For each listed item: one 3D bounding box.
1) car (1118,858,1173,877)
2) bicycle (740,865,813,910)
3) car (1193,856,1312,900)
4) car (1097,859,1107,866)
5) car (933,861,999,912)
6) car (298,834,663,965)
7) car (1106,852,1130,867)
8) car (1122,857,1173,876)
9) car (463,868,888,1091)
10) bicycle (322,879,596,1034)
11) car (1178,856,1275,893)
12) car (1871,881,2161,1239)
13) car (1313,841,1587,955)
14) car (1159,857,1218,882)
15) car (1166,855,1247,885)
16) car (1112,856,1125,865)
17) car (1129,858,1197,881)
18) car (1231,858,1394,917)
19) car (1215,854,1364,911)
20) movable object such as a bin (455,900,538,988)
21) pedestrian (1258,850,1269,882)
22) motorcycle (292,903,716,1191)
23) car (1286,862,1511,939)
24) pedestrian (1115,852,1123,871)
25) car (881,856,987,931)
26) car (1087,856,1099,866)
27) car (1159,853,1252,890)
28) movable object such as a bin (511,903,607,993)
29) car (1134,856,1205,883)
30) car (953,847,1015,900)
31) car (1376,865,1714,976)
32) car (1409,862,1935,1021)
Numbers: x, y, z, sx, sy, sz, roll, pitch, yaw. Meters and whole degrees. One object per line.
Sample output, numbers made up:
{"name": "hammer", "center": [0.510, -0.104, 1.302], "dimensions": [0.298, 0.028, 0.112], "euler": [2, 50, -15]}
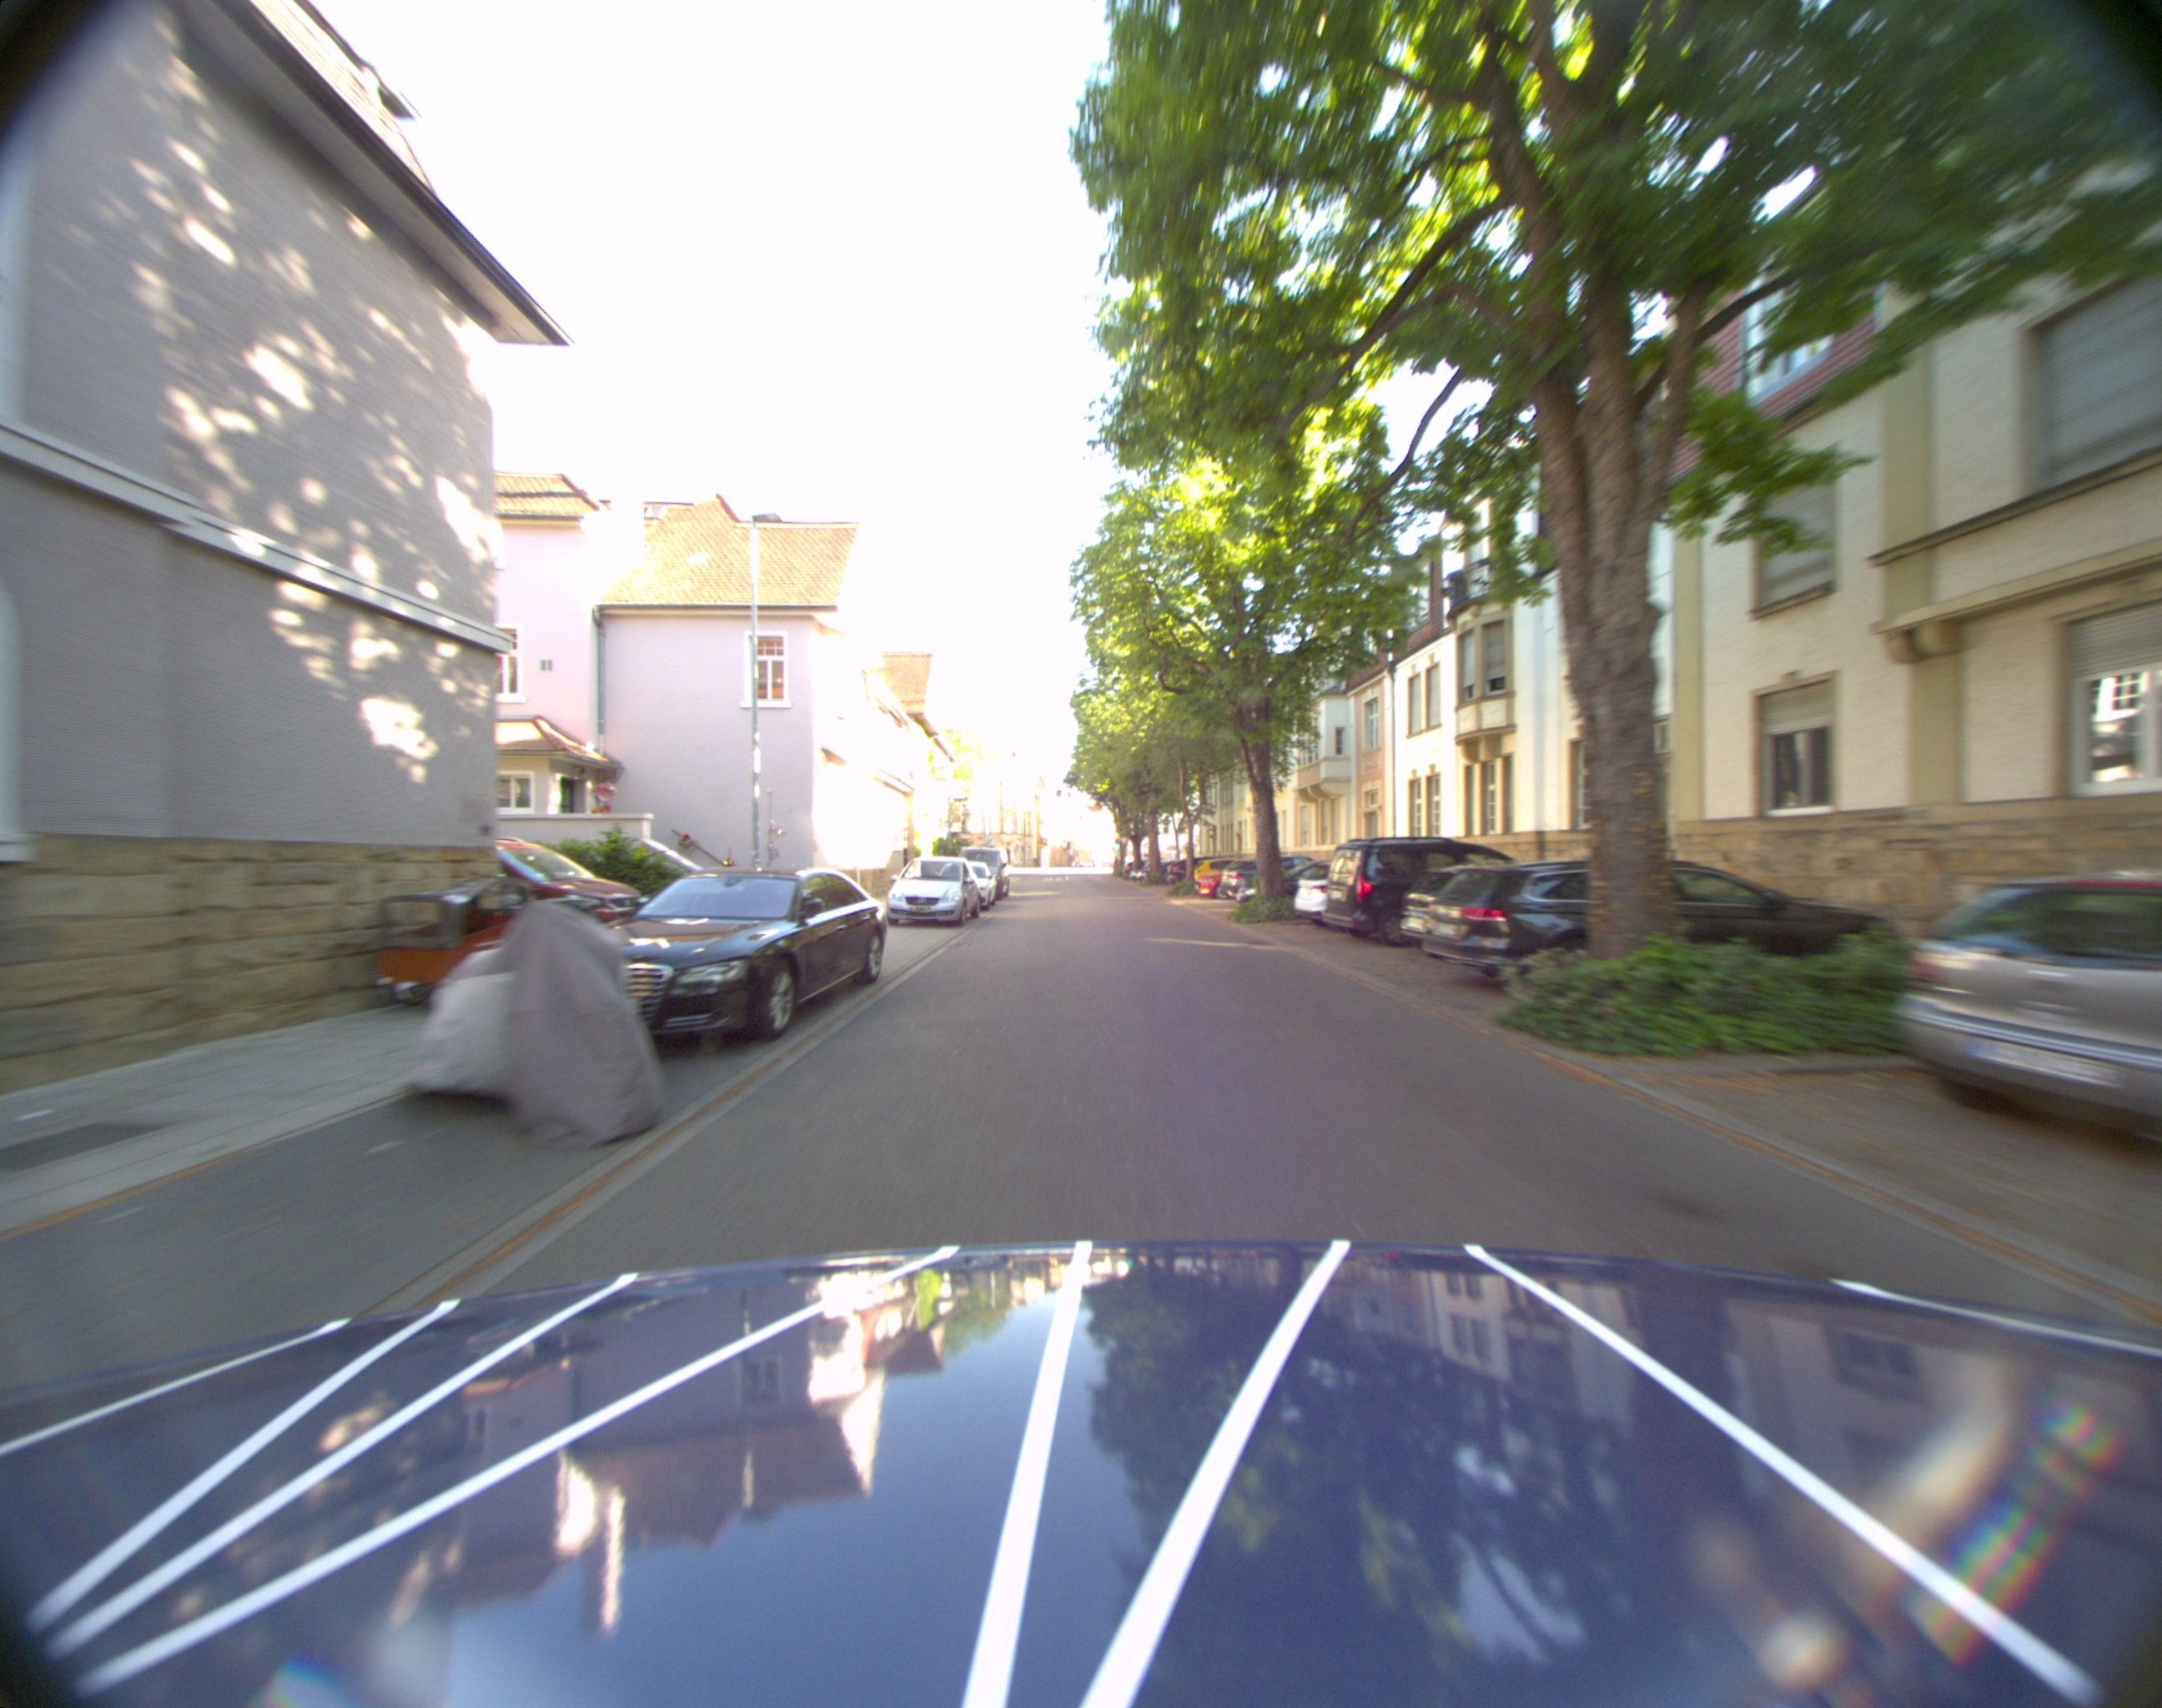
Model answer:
{"name": "car", "center": [4.846, 0.996, 57.460], "dimensions": [3.894, 1.407, 1.614], "euler": [0, 0, -7]}
{"name": "bicycle", "center": [-7.560, 0.838, 18.914], "dimensions": [1.640, 1.094, 0.395], "euler": [0, 1, -3]}
{"name": "car", "center": [6.285, 0.853, 28.108], "dimensions": [3.997, 1.506, 1.747], "euler": [-1, 1, -1]}
{"name": "car", "center": [4.899, 1.909, 176.643], "dimensions": [1.832, 1.586, 3.823], "euler": [-3, -2, 9]}
{"name": "car", "center": [-3.587, 0.961, 24.370], "dimensions": [1.683, 1.449, 4.437], "euler": [0, 0, -4]}
{"name": "car", "center": [-8.998, 0.641, 11.669], "dimensions": [4.149, 1.832, 1.765], "euler": [1, 1, -2]}
{"name": "car", "center": [3.875, 0.540, 79.509], "dimensions": [1.643, 1.499, 3.707], "euler": [1, 0, 16]}
{"name": "car", "center": [5.284, 0.984, 60.465], "dimensions": [3.892, 1.467, 1.615], "euler": [1, 1, -1]}
{"name": "car", "center": [-3.513, 0.949, 7.783], "dimensions": [1.859, 1.484, 4.607], "euler": [1, 0, 0]}
{"name": "bicycle", "center": [-6.352, 0.968, 8.009], "dimensions": [1.085, 1.330, 2.250], "euler": [1, 0, -2]}
{"name": "car", "center": [6.136, 0.854, 32.355], "dimensions": [3.799, 1.453, 1.863], "euler": [-1, 0, 0]}
{"name": "car", "center": [6.491, 0.900, 3.679], "dimensions": [3.684, 1.479, 1.641], "euler": [-1, 1, -1]}
{"name": "car", "center": [6.414, 0.718, 13.520], "dimensions": [3.990, 1.845, 1.828], "euler": [-1, 1, -2]}
{"name": "car", "center": [6.651, 0.977, 47.256], "dimensions": [3.442, 1.444, 1.703], "euler": [-1, 1, 1]}
{"name": "car", "center": [6.590, 0.820, 40.136], "dimensions": [3.997, 1.499, 1.722], "euler": [1, 1, 0]}
{"name": "car", "center": [7.331, 1.313, 147.642], "dimensions": [1.916, 1.649, 4.350], "euler": [-4, -1, 11]}
{"name": "car", "center": [5.307, 1.013, 49.498], "dimensions": [4.223, 1.341, 1.702], "euler": [-1, 1, -1]}
{"name": "car", "center": [6.208, 0.885, 20.723], "dimensions": [3.911, 1.438, 1.860], "euler": [-1, 0, 4]}
{"name": "car", "center": [6.269, 0.827, 23.203], "dimensions": [3.997, 1.583, 1.859], "euler": [-1, 0, -2]}
{"name": "movable object such as a bin", "center": [-7.264, 1.105, 9.462], "dimensions": [0.570, 1.033, 0.618], "euler": [1, 0, -3]}
{"name": "pedestrian", "center": [9.659, 0.617, 40.162], "dimensions": [0.461, 1.648, 0.895], "euler": [0, 1, 7]}
{"name": "motorcycle", "center": [-3.443, 1.020, 4.574], "dimensions": [2.195, 1.331, 0.922], "euler": [1, 1, 17]}
{"name": "car", "center": [6.535, 0.918, 15.889], "dimensions": [3.999, 1.439, 1.741], "euler": [-1, 1, -5]}
{"name": "pedestrian", "center": [3.382, 0.669, 67.809], "dimensions": [0.695, 1.672, 0.680], "euler": [0, 1, 10]}
{"name": "car", "center": [-3.518, 0.880, 18.856], "dimensions": [1.794, 1.591, 4.000], "euler": [2, 0, 0]}
{"name": "car", "center": [2.575, 1.503, 164.160], "dimensions": [1.832, 2.022, 3.823], "euler": [-3, -1, 11]}
{"name": "car", "center": [5.680, 0.781, 35.015], "dimensions": [3.997, 1.557, 1.863], "euler": [-1, 1, 0]}
{"name": "movable object such as a bin", "center": [-6.565, 1.164, 9.595], "dimensions": [0.649, 1.033, 0.828], "euler": [1, 0, -3]}
{"name": "car", "center": [5.181, 0.922, 44.798], "dimensions": [3.997, 1.474, 1.785], "euler": [-1, 1, 0]}
{"name": "car", "center": [-3.768, 0.716, 30.246], "dimensions": [1.870, 1.905, 4.782], "euler": [2, 0, -1]}
{"name": "car", "center": [6.759, 0.918, 11.360], "dimensions": [3.991, 1.429, 1.828], "euler": [-1, 1, -3]}
{"name": "car", "center": [6.391, 0.884, 8.592], "dimensions": [4.544, 1.494, 1.891], "euler": [-1, 1, -2]}
